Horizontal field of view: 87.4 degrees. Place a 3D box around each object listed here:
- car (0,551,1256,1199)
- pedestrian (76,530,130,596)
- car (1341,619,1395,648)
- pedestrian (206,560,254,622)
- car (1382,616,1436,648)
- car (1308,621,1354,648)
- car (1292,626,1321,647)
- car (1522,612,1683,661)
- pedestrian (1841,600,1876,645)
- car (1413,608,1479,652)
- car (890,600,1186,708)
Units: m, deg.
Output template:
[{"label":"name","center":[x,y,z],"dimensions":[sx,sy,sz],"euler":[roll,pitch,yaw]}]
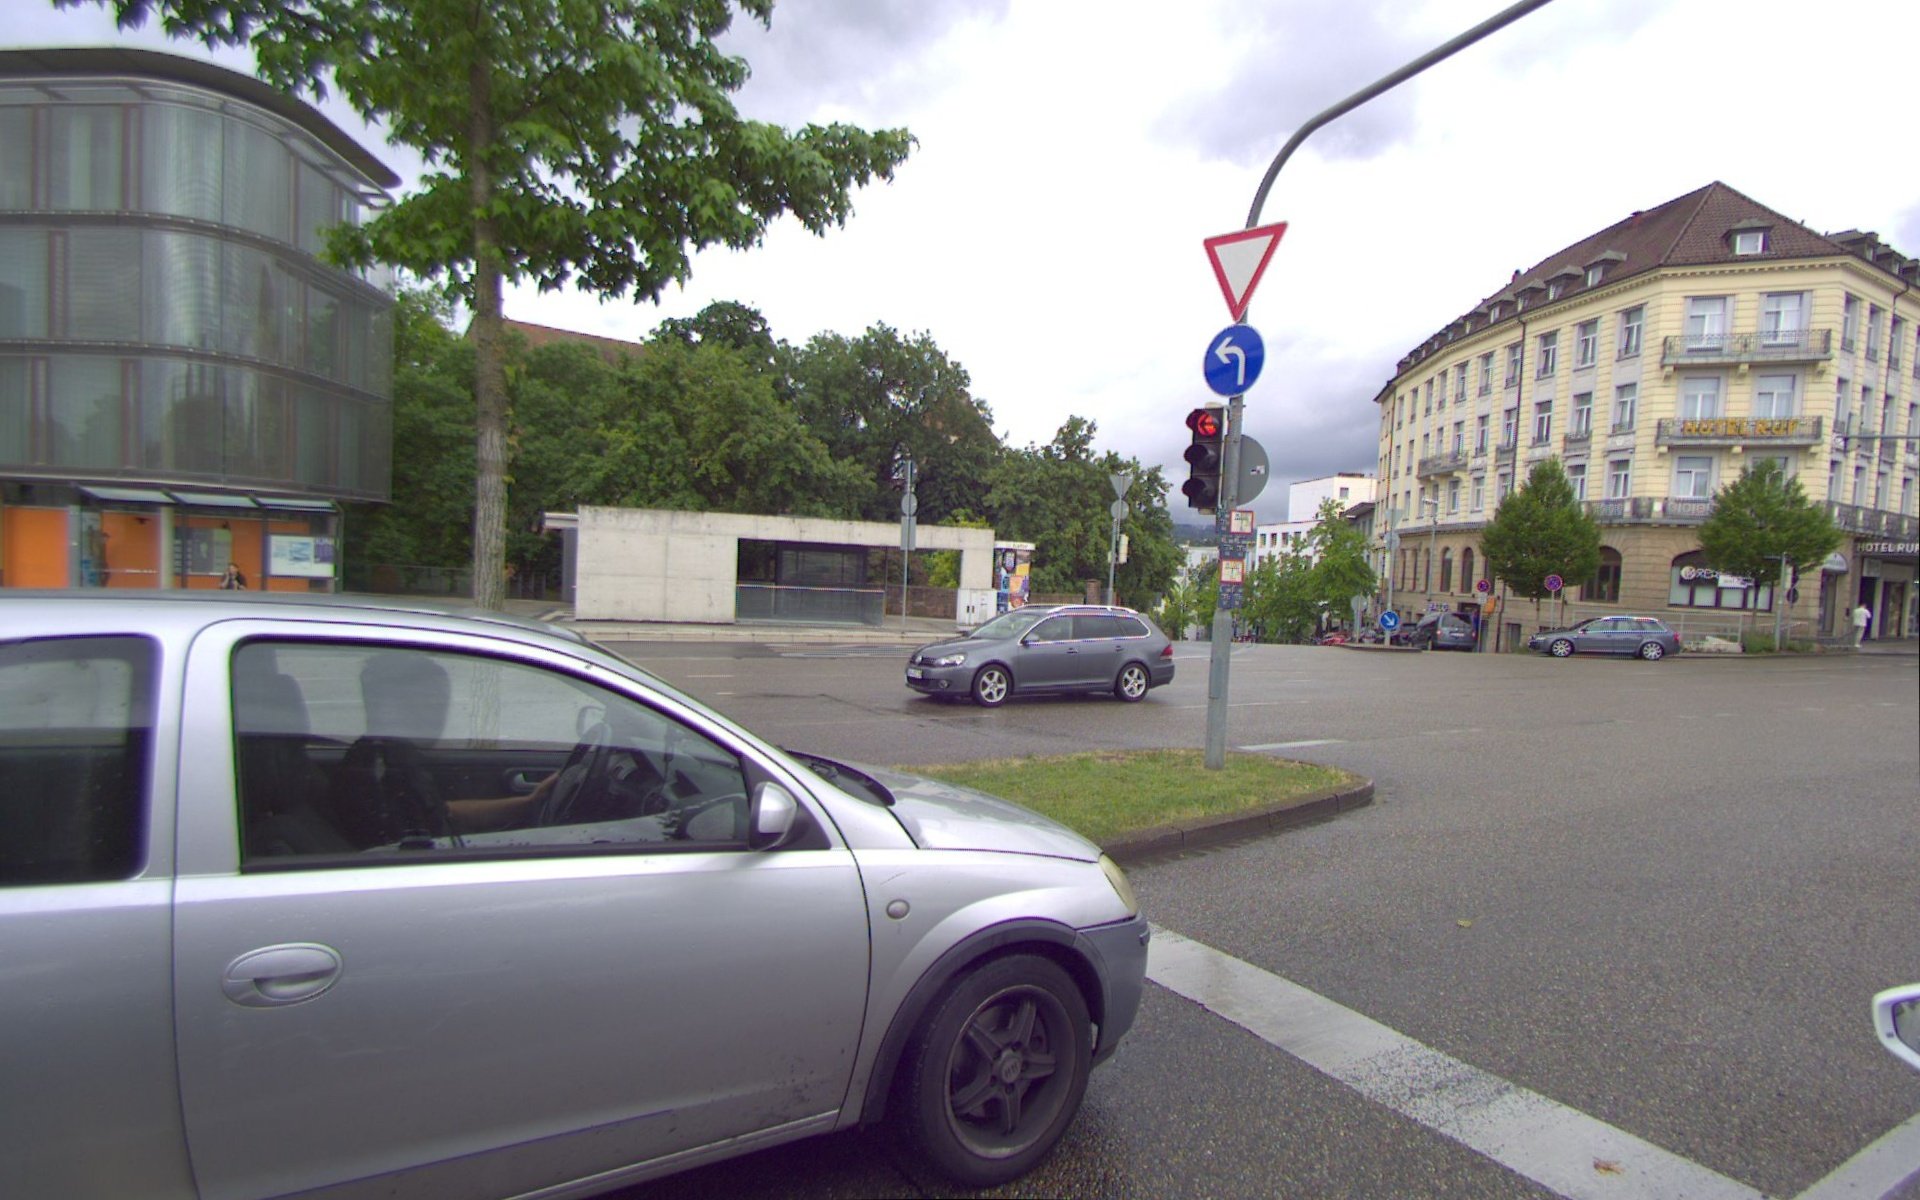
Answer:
[{"label":"car","center":[-1.195,0.684,2.529],"dimensions":[3.678,1.485,1.685],"euler":[2,0,-32]},{"label":"pedestrian","center":[-23.584,-1.005,27.657],"dimensions":[0.809,1.779,0.786],"euler":[0,0,-2]},{"label":"car","center":[23.057,1.864,56.919],"dimensions":[1.734,1.498,4.002],"euler":[2,0,6]},{"label":"pedestrian","center":[-16.190,-0.194,22.298],"dimensions":[0.710,1.316,0.665],"euler":[2,0,-25]},{"label":"car","center":[22.989,1.594,51.544],"dimensions":[1.602,1.417,4.002],"euler":[2,1,10]},{"label":"car","center":[23.257,2.147,63.129],"dimensions":[1.734,1.498,4.012],"euler":[2,0,6]},{"label":"car","center":[28.598,2.997,83.054],"dimensions":[1.734,1.498,4.002],"euler":[2,0,11]},{"label":"car","center":[22.167,1.221,34.850],"dimensions":[4.363,1.485,1.700],"euler":[2,0,19]},{"label":"pedestrian","center":[37.476,0.933,41.887],"dimensions":[0.741,1.837,0.875],"euler":[2,0,-30]},{"label":"car","center":[21.787,1.286,45.187],"dimensions":[1.602,1.783,4.002],"euler":[2,1,10]},{"label":"car","center":[1.259,0.809,15.740],"dimensions":[4.396,1.485,1.688],"euler":[2,0,-28]}]
